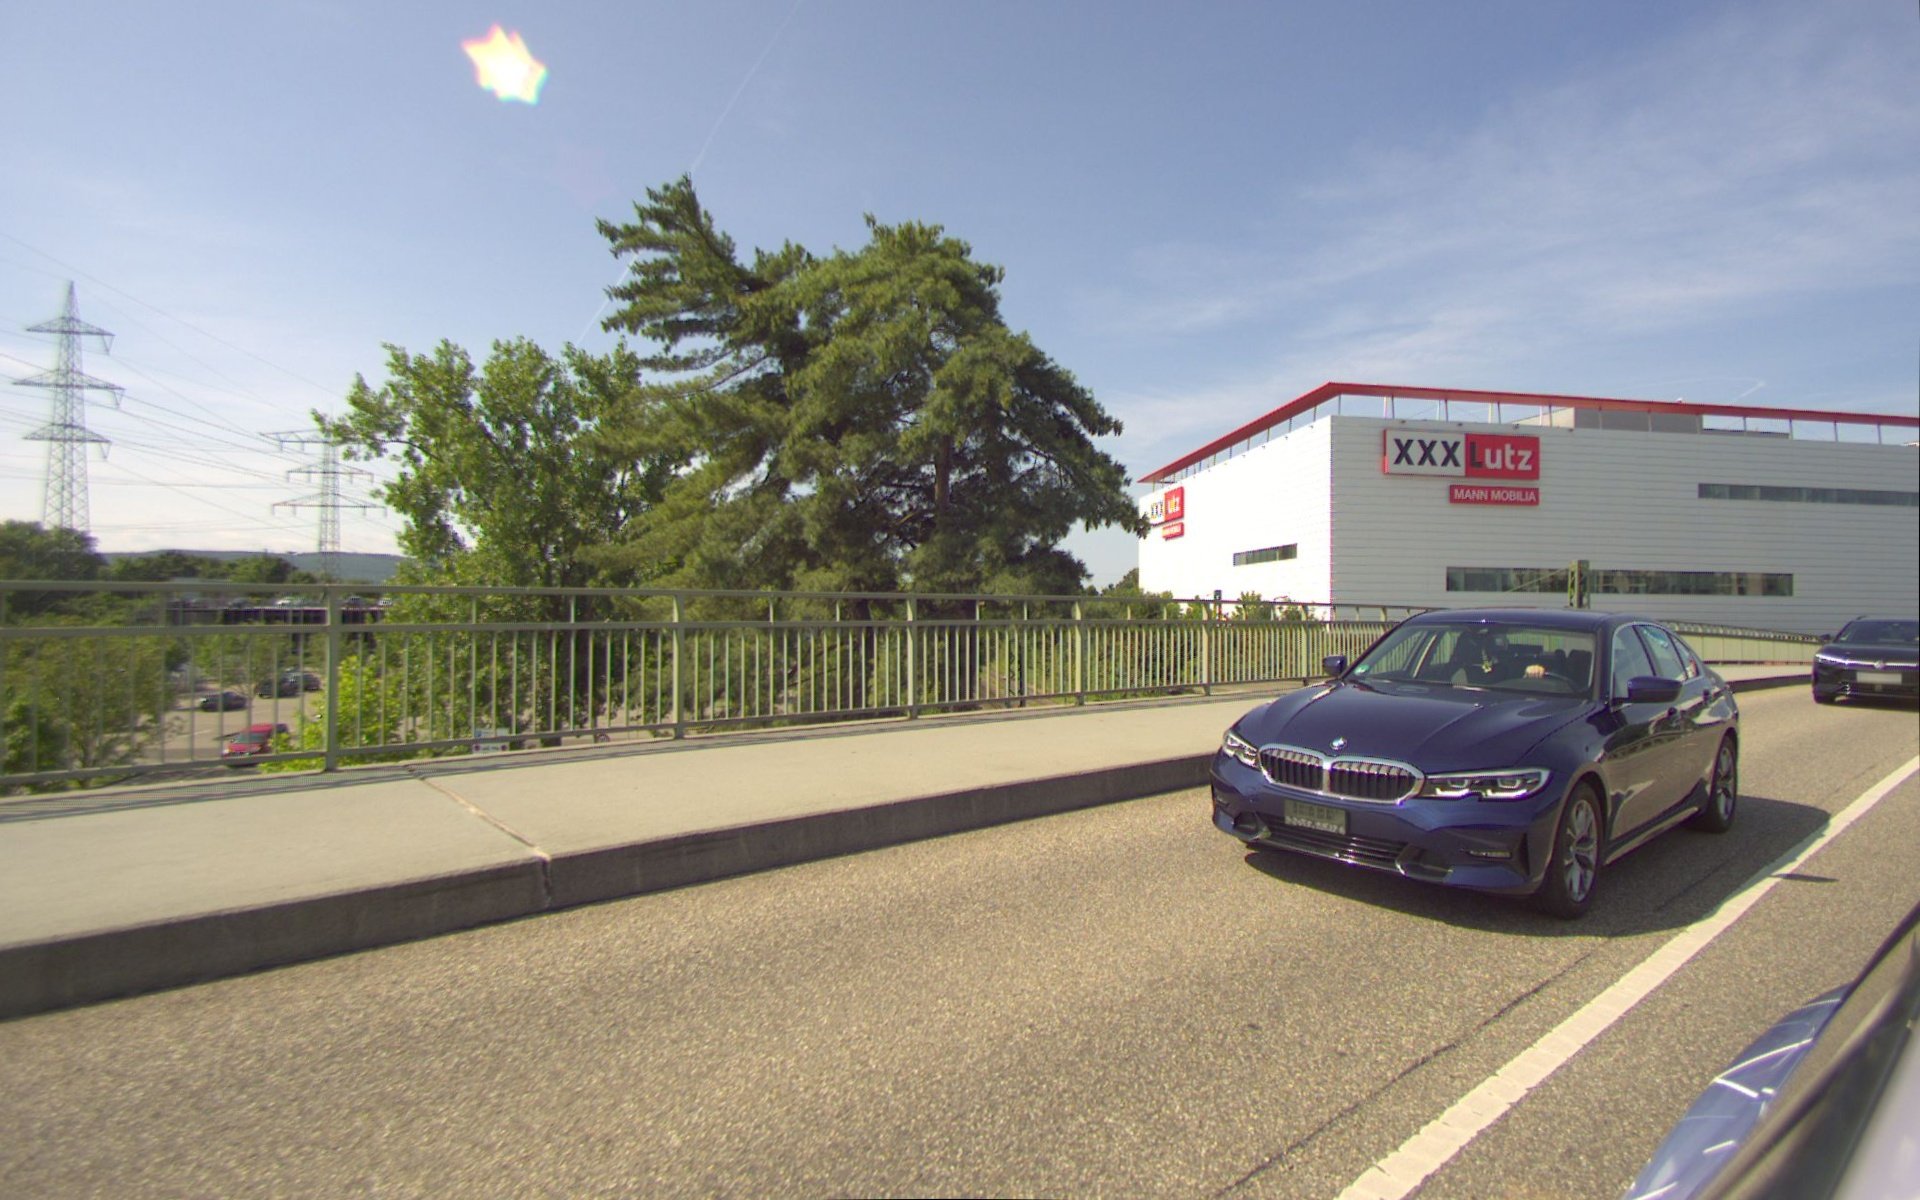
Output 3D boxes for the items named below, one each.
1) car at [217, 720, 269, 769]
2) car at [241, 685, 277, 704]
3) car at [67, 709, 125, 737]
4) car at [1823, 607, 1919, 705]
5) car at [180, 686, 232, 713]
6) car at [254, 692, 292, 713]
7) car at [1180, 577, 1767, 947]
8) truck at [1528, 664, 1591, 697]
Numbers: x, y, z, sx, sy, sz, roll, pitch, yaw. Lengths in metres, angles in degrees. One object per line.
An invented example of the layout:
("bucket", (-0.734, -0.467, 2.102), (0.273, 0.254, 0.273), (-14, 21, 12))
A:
("car", (-37.406, 7.495, 52.890), (1.961, 1.914, 4.002), (1, 0, -32))
("car", (-61.875, 8.326, 89.319), (1.365, 1.377, 3.164), (1, 0, -10))
("car", (-55.317, 7.854, 64.827), (1.365, 1.377, 3.164), (1, 0, -10))
("car", (16.397, 0.923, 17.456), (4.074, 1.549, 1.858), (2, -2, -43))
("car", (-59.279, 7.798, 79.642), (1.958, 1.746, 4.008), (1, 0, -17))
("car", (-55.660, 8.274, 82.026), (1.365, 1.377, 3.164), (1, 0, -10))
("car", (3.425, 0.679, 6.282), (4.442, 1.502, 1.790), (1, -1, -42))
("truck", (59.779, 7.998, 101.027), (2.088, 2.965, 6.019), (1, -1, -8))
